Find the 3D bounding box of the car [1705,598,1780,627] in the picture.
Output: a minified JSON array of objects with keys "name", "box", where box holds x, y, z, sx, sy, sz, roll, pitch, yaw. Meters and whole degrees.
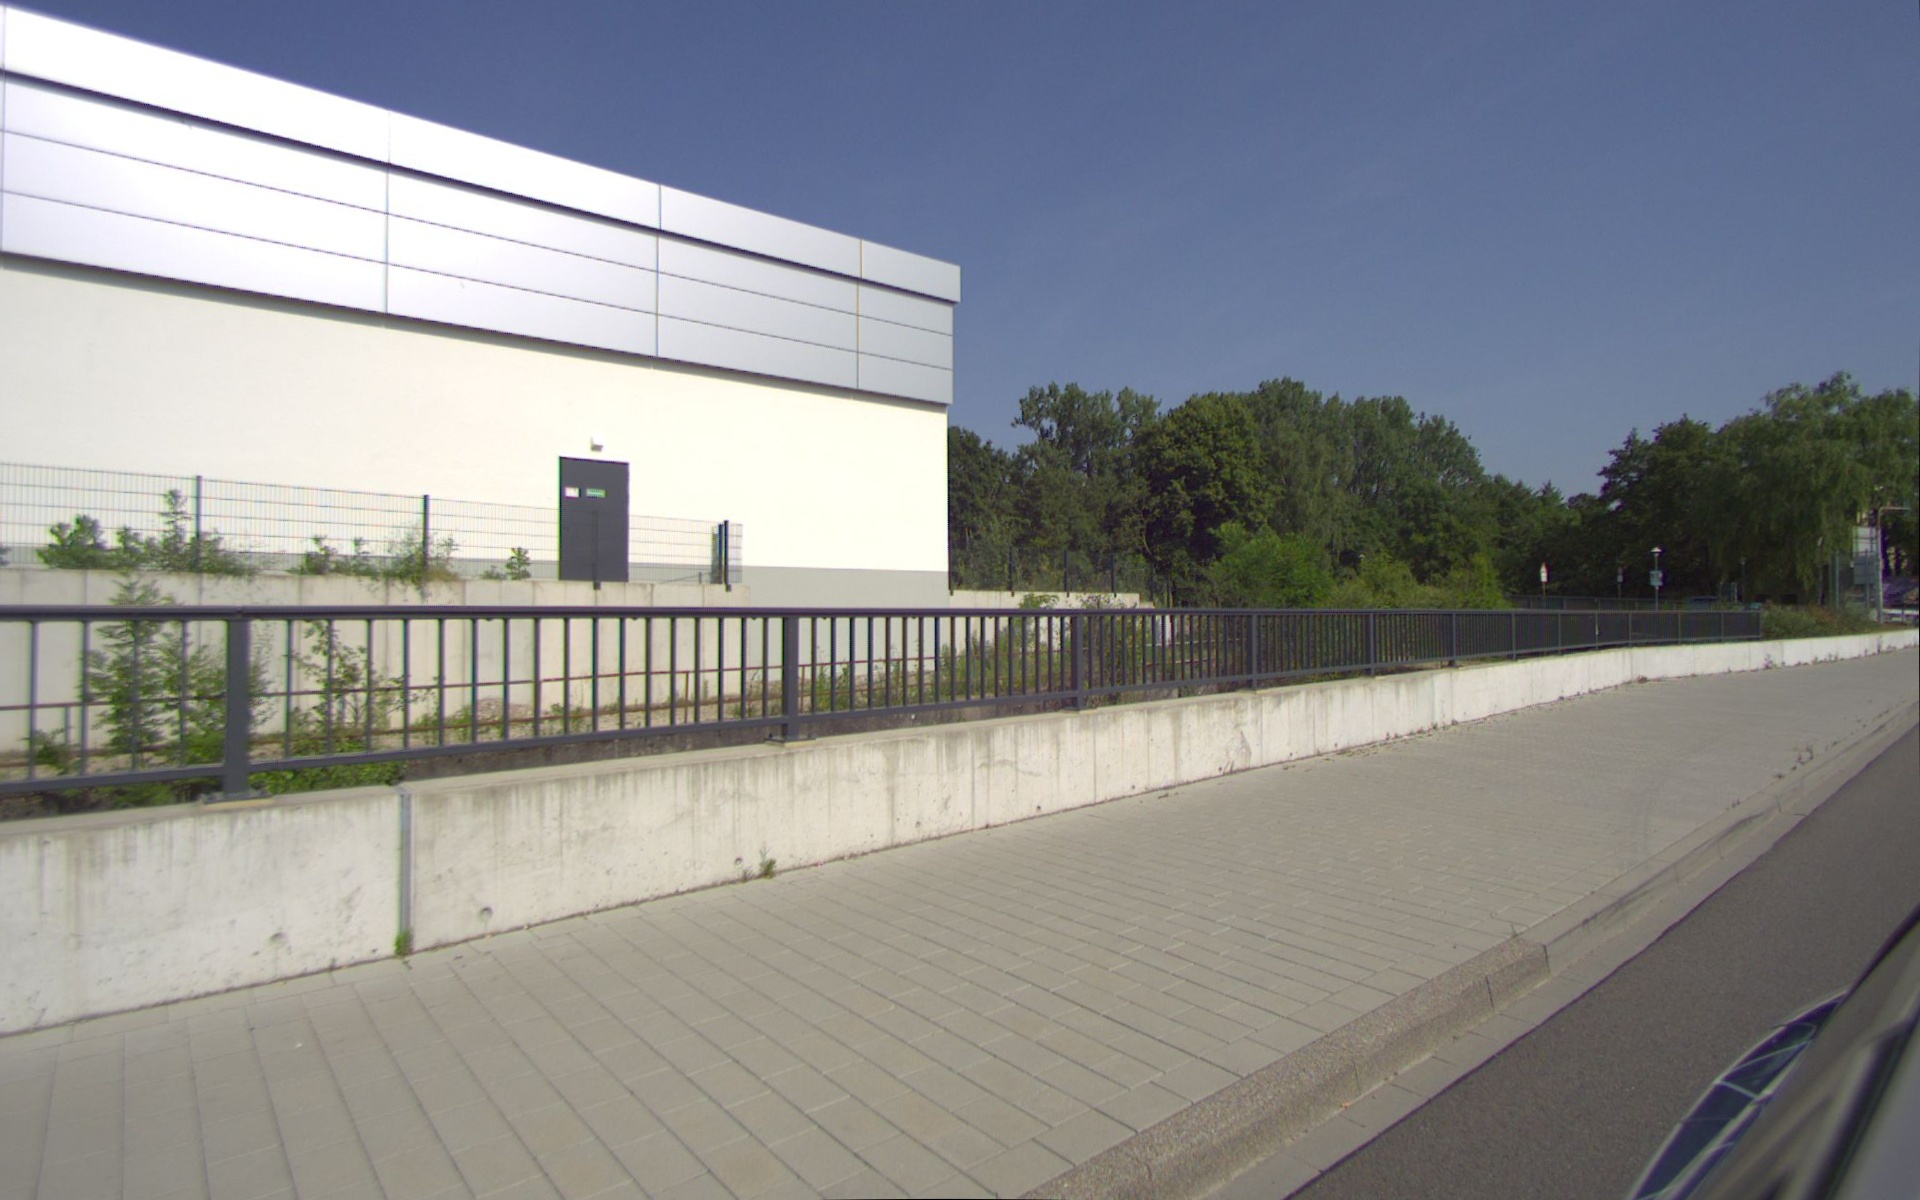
[{"name":"car","box":[47.752,0.724,61.851,1.638,1.537,4.079,1,2,5]}]
